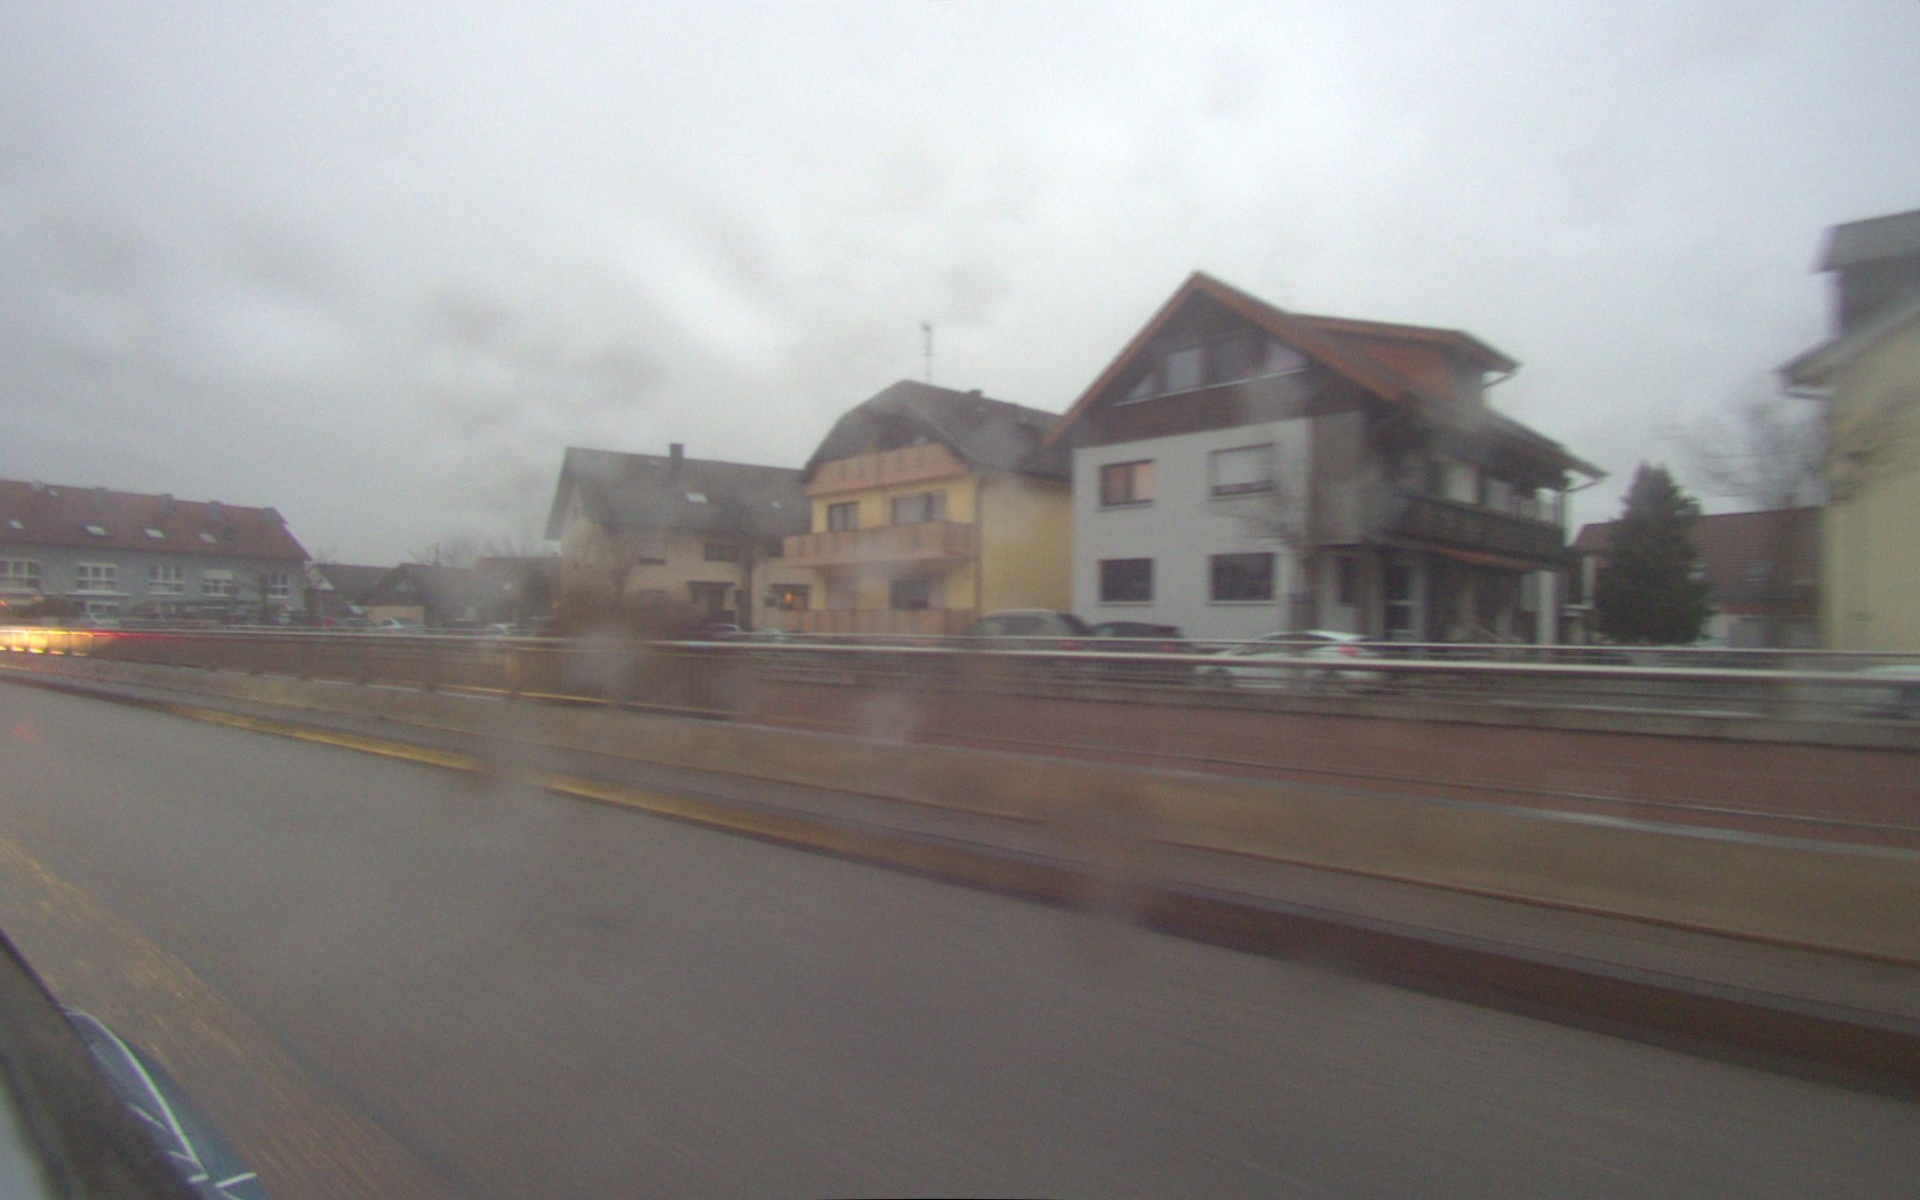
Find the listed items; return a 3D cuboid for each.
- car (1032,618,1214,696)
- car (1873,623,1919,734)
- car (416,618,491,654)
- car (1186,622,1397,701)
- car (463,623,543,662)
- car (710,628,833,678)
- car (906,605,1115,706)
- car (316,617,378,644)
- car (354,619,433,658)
[{"bbox_3d":[3.895,1.311,24.596,3.999,1.694,1.839,-1,0,42],"label":"car"},{"bbox_3d":[15.690,1.113,14.181,4.225,1.611,1.853,-3,-5,43],"label":"car"},{"bbox_3d":[-24.466,1.702,48.879,3.998,1.529,1.877,0,1,41],"label":"car"},{"bbox_3d":[7.152,1.274,22.036,4.031,1.535,1.750,-1,-2,42],"label":"car"},{"bbox_3d":[-20.762,1.911,45.945,3.983,1.636,1.798,-2,0,41],"label":"car"},{"bbox_3d":[-6.254,1.684,33.322,4.142,1.517,1.857,-1,-1,42],"label":"car"},{"bbox_3d":[0.954,1.039,20.131,3.856,1.817,1.782,-1,-2,38],"label":"car"},{"bbox_3d":[-34.664,1.702,57.205,3.826,1.425,1.661,0,1,36],"label":"car"},{"bbox_3d":[-30.252,2.015,54.021,4.347,1.919,1.977,-1,1,35],"label":"car"}]
